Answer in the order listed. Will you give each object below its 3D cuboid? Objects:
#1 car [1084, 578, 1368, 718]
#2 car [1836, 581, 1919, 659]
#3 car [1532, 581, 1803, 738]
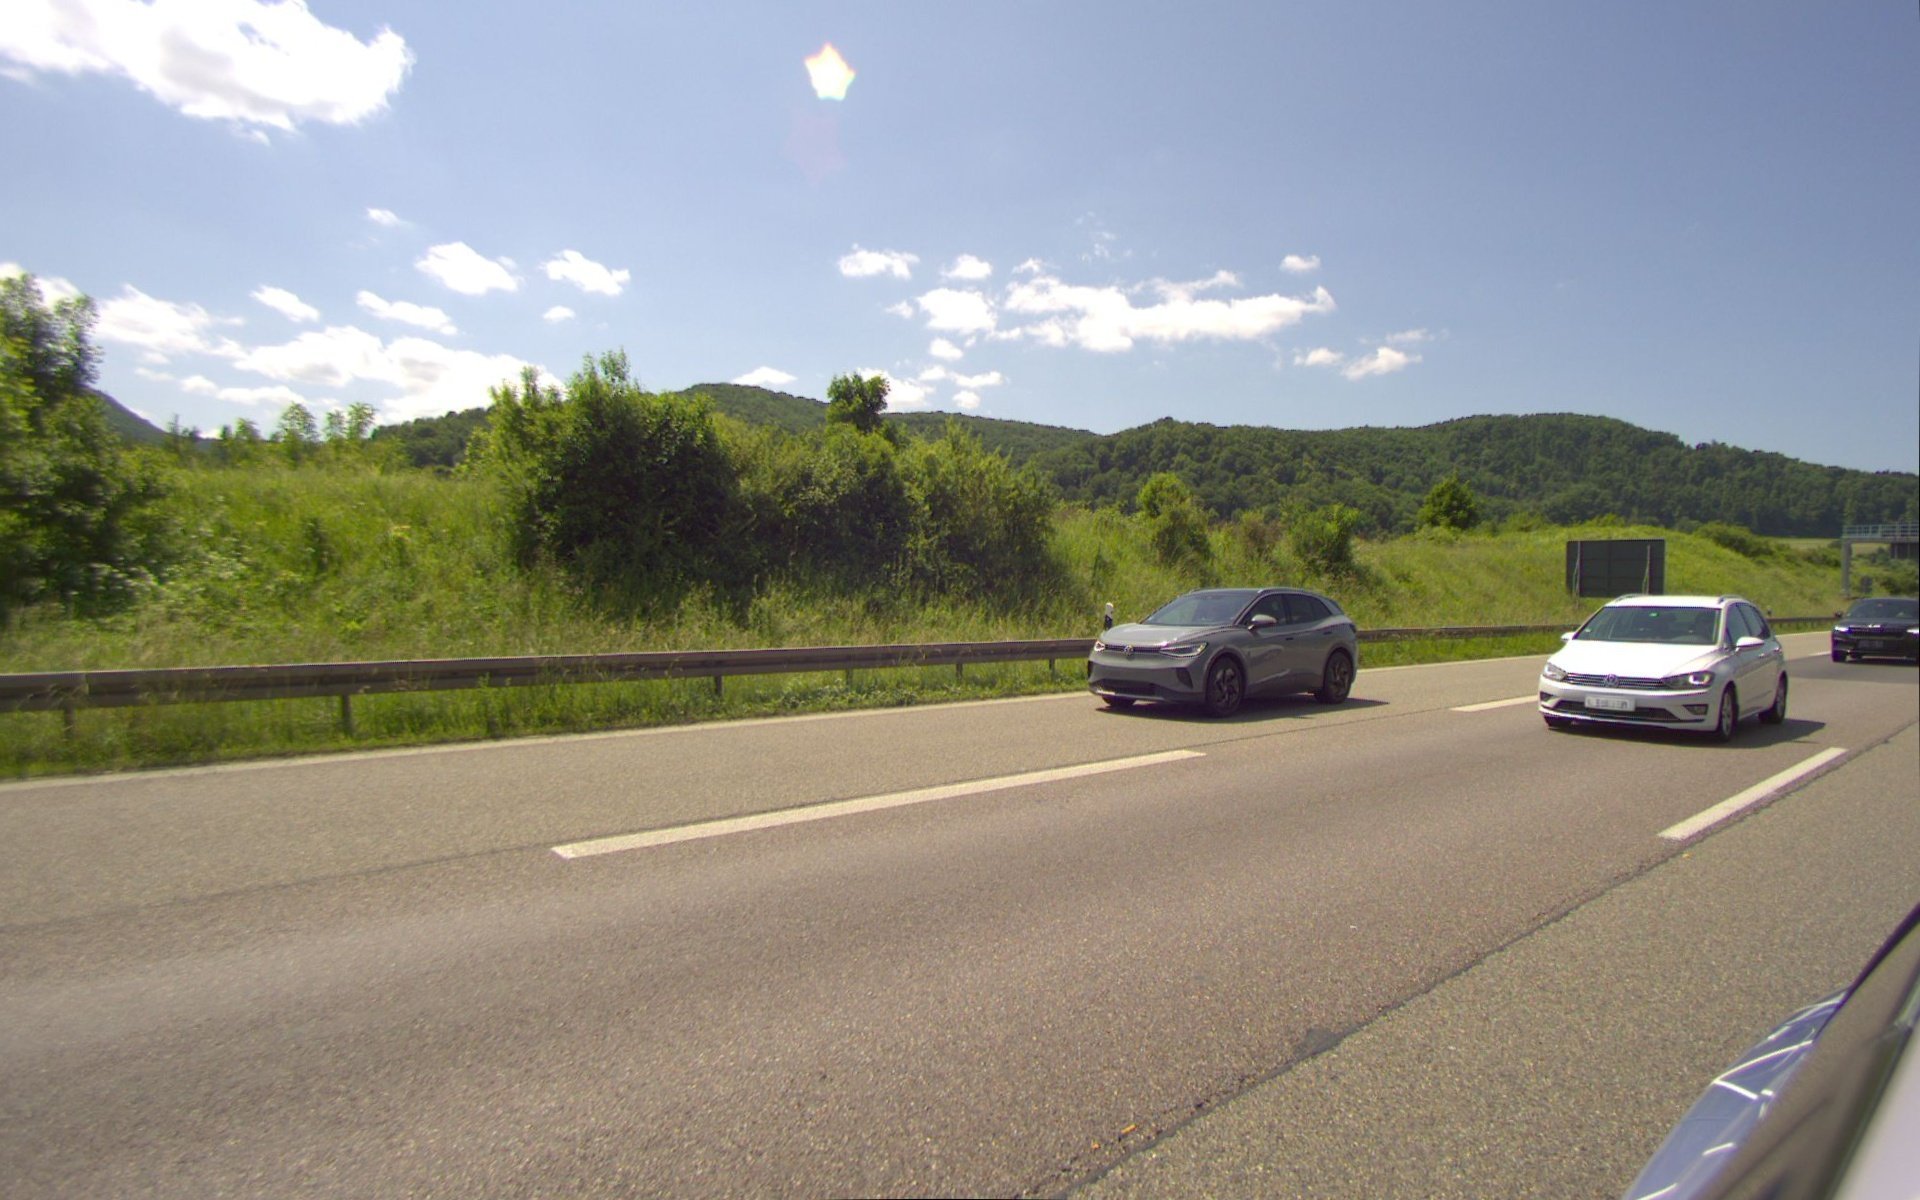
[{"bbox_3d":[3.717,0.543,13.726,4.174,1.615,1.682,0,0,-41],"label":"car"},{"bbox_3d":[23.761,0.476,25.484,4.096,1.794,1.893,0,1,-39],"label":"car"},{"bbox_3d":[8.492,0.576,12.019,3.984,1.560,1.775,0,0,-42],"label":"car"}]
